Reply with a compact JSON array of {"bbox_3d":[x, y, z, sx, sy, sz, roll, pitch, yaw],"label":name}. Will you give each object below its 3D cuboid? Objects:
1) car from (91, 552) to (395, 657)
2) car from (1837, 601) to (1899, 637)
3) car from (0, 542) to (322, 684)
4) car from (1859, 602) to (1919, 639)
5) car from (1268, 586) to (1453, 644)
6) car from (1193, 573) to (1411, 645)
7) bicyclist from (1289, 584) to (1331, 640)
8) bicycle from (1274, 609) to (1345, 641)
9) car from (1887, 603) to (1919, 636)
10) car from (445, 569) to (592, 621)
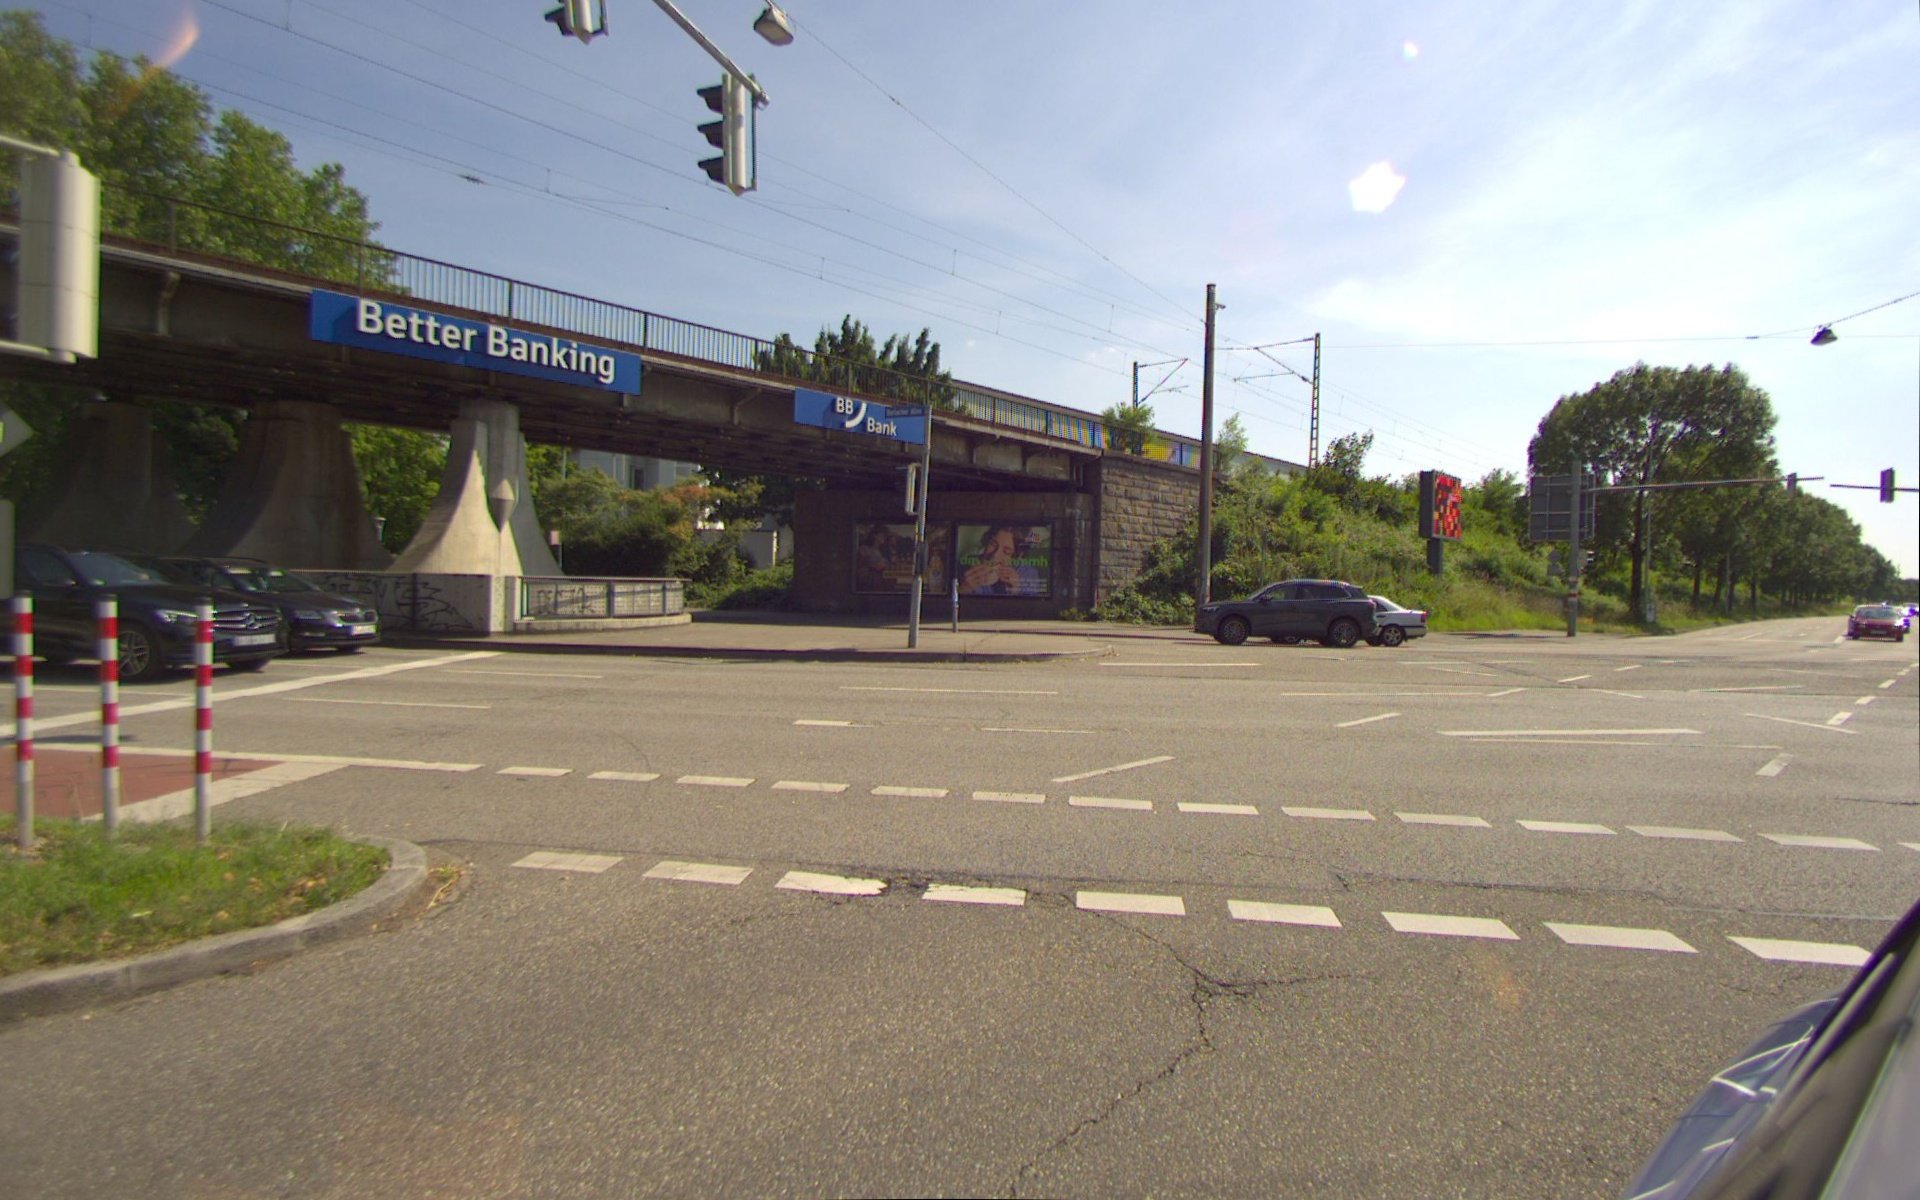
[{"bbox_3d":[-11.211,0.039,15.911,3.938,1.460,1.687,1,1,12],"label":"car"},{"bbox_3d":[42.129,0.887,46.938,3.930,1.527,1.713,3,-2,-41],"label":"car"},{"bbox_3d":[-10.977,0.092,13.057,4.368,1.615,1.998,1,2,6],"label":"car"},{"bbox_3d":[39.338,0.888,42.657,3.930,1.411,1.713,3,-2,-41],"label":"car"},{"bbox_3d":[10.868,0.394,27.700,4.365,1.409,1.713,1,0,7],"label":"car"},{"bbox_3d":[8.512,0.204,25.581,4.892,1.628,1.944,1,0,8],"label":"car"},{"bbox_3d":[10.624,0.362,30.743,1.050,1.655,0.804,2,-2,8],"label":"bicyclist"},{"bbox_3d":[10.602,0.762,30.737,1.894,0.904,0.815,2,-1,9],"label":"bicycle"},{"bbox_3d":[47.958,0.994,50.786,3.930,1.527,1.713,3,-2,-41],"label":"car"},{"bbox_3d":[-13.642,-0.149,31.357,3.828,1.469,1.712,1,-1,8],"label":"car"}]
